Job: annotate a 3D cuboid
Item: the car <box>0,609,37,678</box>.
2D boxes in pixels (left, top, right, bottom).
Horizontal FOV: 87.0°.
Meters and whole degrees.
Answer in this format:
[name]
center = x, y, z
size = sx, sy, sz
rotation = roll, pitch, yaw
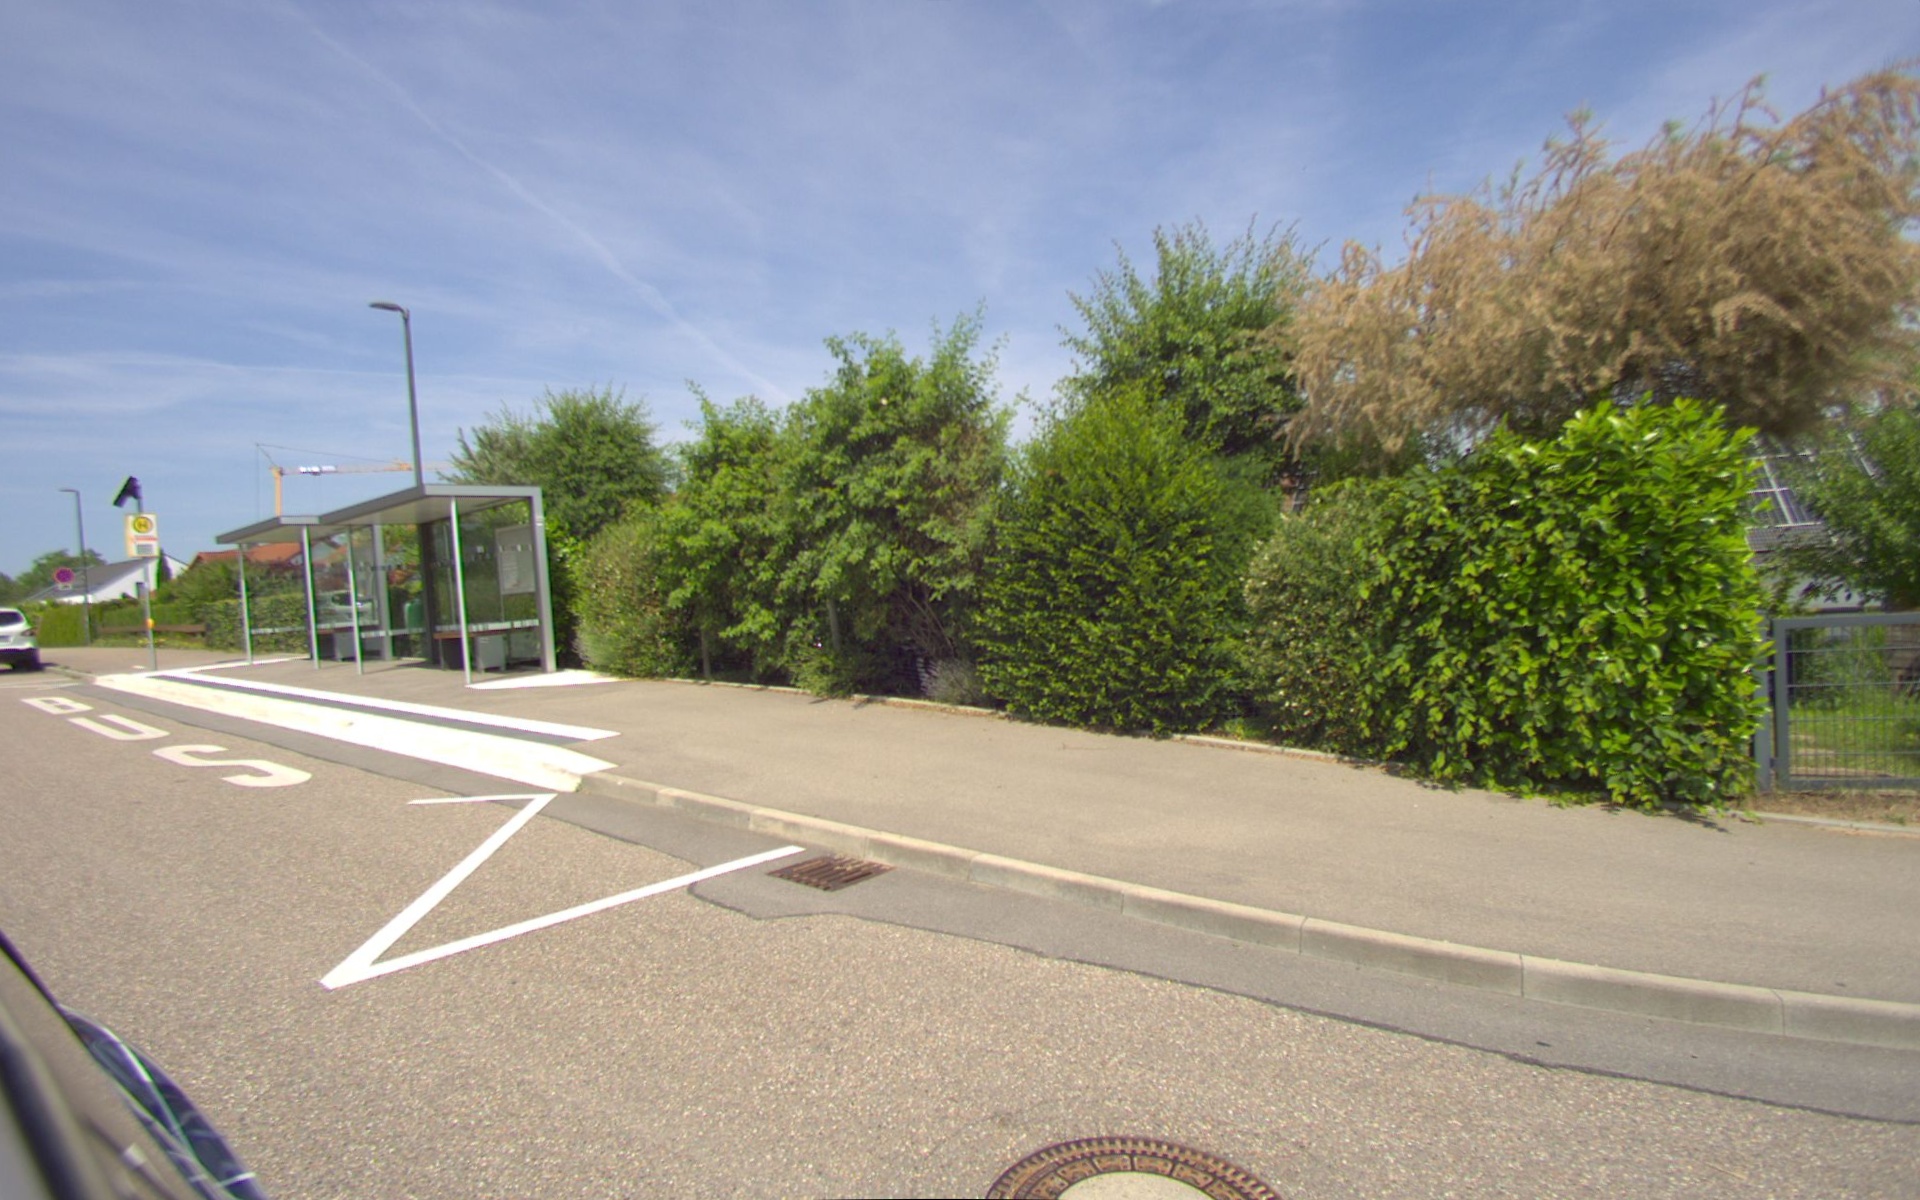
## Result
[car]
center = -25.062, 1.132, 25.773
size = 4.349, 1.645, 1.717
rotation = -2, 1, 41
